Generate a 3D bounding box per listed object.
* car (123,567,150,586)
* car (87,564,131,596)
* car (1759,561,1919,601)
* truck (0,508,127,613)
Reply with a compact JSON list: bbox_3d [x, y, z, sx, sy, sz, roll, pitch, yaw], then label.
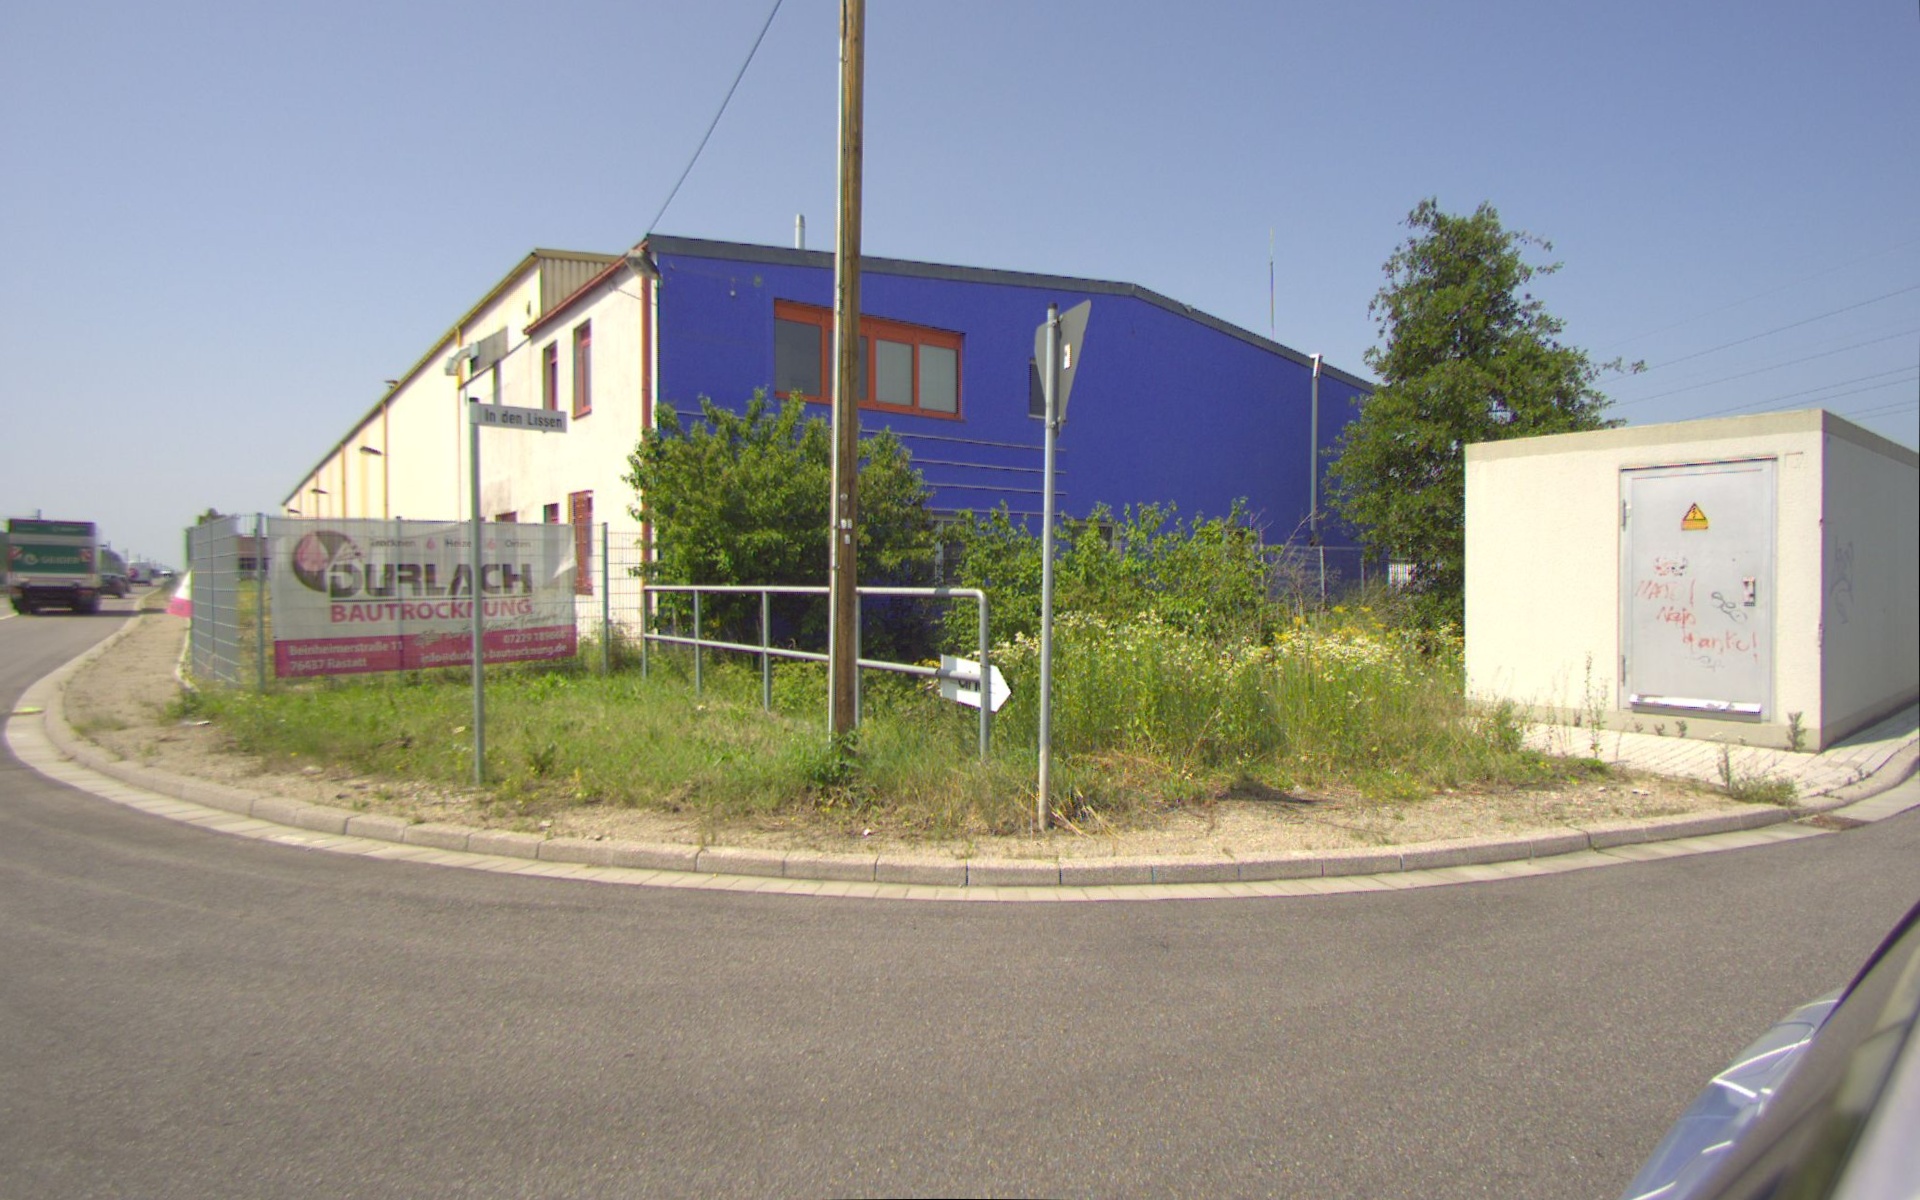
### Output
[{"bbox_3d":[-87.500,-2.491,107.590,1.963,2.039,3.999,-1,1,-36],"label":"car"},{"bbox_3d":[-56.720,-1.301,67.525,1.963,2.039,3.999,-1,1,-36],"label":"car"},{"bbox_3d":[33.792,-0.718,39.101,4.555,1.445,1.972,0,1,40],"label":"car"},{"bbox_3d":[-38.354,-1.513,43.245,3.499,3.927,11.412,-1,1,-36],"label":"truck"}]
